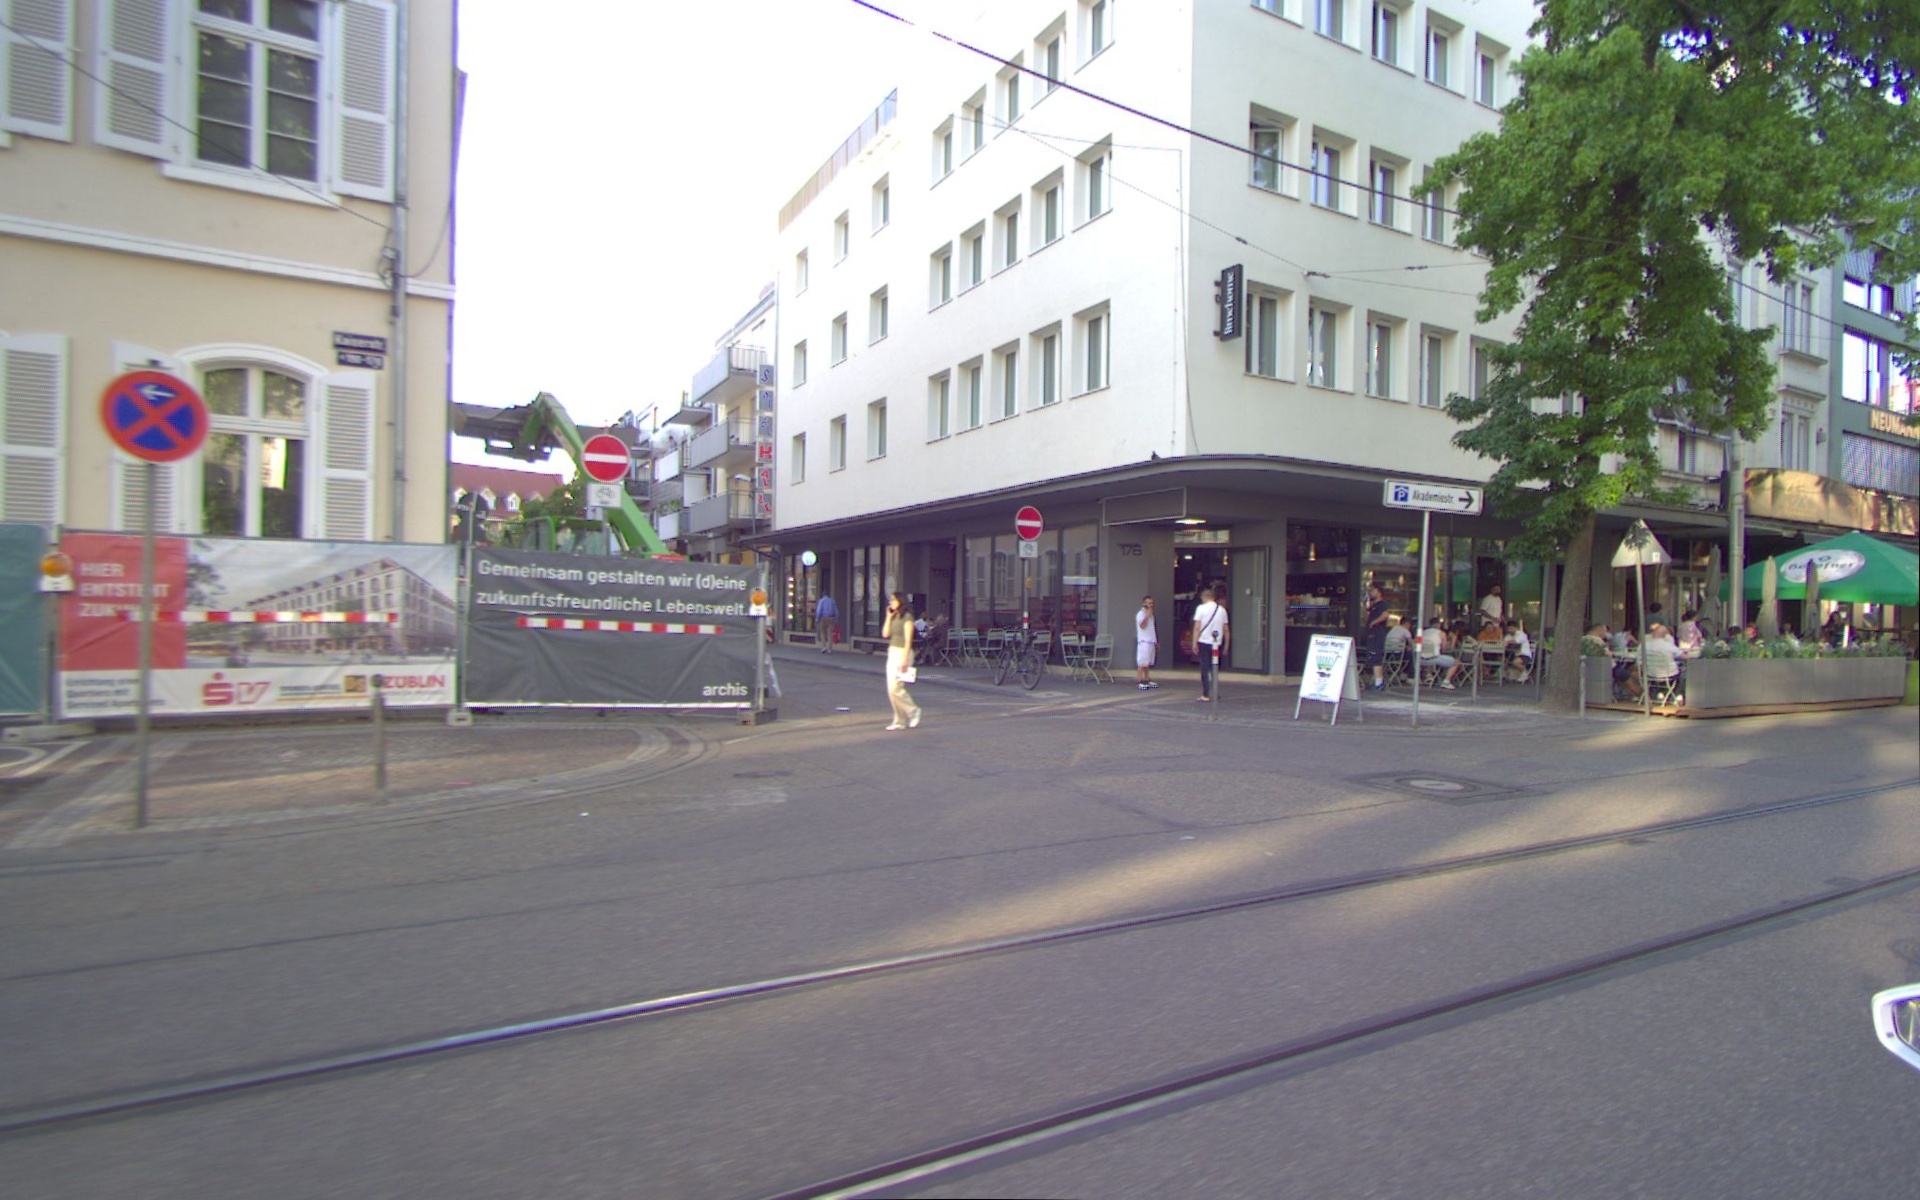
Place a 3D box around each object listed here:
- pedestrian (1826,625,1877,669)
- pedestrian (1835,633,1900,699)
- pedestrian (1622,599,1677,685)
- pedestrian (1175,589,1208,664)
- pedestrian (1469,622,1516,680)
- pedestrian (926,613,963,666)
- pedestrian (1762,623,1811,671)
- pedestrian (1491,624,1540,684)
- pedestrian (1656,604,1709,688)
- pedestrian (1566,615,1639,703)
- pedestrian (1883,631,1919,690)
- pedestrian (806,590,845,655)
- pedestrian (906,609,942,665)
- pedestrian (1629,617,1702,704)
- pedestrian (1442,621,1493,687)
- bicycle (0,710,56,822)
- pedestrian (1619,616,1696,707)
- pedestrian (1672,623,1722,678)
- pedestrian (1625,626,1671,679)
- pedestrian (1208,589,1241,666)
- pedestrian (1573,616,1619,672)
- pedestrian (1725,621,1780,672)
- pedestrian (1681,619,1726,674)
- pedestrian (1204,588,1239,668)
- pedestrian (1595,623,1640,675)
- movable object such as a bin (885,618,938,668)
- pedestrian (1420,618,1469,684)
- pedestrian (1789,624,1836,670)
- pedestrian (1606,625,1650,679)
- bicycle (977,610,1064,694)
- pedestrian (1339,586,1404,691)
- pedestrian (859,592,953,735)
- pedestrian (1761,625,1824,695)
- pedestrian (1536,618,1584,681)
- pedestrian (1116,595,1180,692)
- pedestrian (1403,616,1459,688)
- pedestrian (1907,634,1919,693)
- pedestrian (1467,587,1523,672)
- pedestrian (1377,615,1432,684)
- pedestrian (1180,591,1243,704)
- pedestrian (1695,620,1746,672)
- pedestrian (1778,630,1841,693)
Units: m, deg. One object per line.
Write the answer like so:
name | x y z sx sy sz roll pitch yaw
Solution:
pedestrian | 25.817 1.352 29.096 1.052 1.204 0.749 1 3 -30
pedestrian | 18.446 1.330 20.423 0.762 1.276 0.705 1 2 -27
pedestrian | 14.688 0.889 21.398 0.688 1.780 0.675 1 2 -28
pedestrian | 5.128 0.577 22.257 0.492 1.625 0.619 1 0 35
pedestrian | 11.208 1.062 21.152 0.678 1.177 0.550 1 2 -29
pedestrian | -0.369 0.935 24.056 0.611 1.218 0.687 -1 0 -31
pedestrian | 22.381 1.257 27.206 0.778 1.230 0.733 1 3 -30
pedestrian | 11.392 1.099 20.602 0.678 1.177 0.550 1 2 -29
pedestrian | 15.112 0.950 21.013 0.689 1.693 0.616 1 2 -30
pedestrian | 10.784 0.973 16.866 0.797 1.405 0.686 1 2 -28
pedestrian | 21.561 1.370 22.839 0.689 1.262 0.616 1 3 -30
pedestrian | -3.975 0.672 29.694 0.920 1.879 0.812 1 0 -26
pedestrian | -0.893 0.898 25.002 0.611 1.353 0.768 -1 1 -31
pedestrian | 11.934 1.007 17.007 0.797 1.405 0.686 1 2 -28
pedestrian | 9.924 1.048 19.643 0.678 1.252 0.550 1 2 -29
bicycle | -6.844 1.126 6.304 1.265 0.617 1.789 1 1 -26
pedestrian | 11.284 0.978 16.252 0.797 1.405 0.686 1 2 -28
pedestrian | 17.607 1.192 23.990 0.789 1.259 0.666 1 2 -30
pedestrian | 15.916 1.203 23.251 0.678 1.190 0.599 1 2 -29
pedestrian | 5.689 0.588 21.639 0.608 1.625 0.405 1 0 4
pedestrian | 13.995 0.961 22.113 0.678 1.177 0.550 1 2 -29
pedestrian | 20.675 1.198 26.205 0.934 1.254 0.773 1 3 -30
pedestrian | 18.700 1.158 25.251 0.689 1.327 0.616 1 3 -30
pedestrian | 5.405 0.575 20.781 0.608 1.625 0.405 1 0 4
pedestrian | 15.593 1.151 23.820 0.678 1.174 0.599 1 2 -29
movable object such as a bin | -1.175 1.015 24.087 0.846 1.129 1.108 -1 1 -31
pedestrian | 9.695 1.011 20.094 0.678 1.252 0.550 1 2 -29
pedestrian | 23.634 1.294 27.851 0.778 1.184 0.696 1 3 -30
pedestrian | 15.107 1.172 22.712 0.678 1.177 0.550 1 2 -29
bicycle | 1.067 0.903 18.221 0.703 1.399 1.867 -2 1 -27
pedestrian | 7.401 0.688 18.085 0.751 1.840 0.685 1 1 -14
pedestrian | -0.664 0.744 12.324 0.955 1.678 0.704 0 0 -28
pedestrian | 17.022 1.210 20.544 0.771 1.365 0.705 1 2 -27
pedestrian | 13.142 1.073 22.011 0.678 1.316 0.599 1 2 -29
pedestrian | 3.347 0.745 17.845 0.787 1.636 0.860 1 2 44
pedestrian | 8.994 0.981 19.171 0.719 1.299 0.624 1 2 -29
pedestrian | 21.069 1.382 21.732 0.689 1.262 0.616 1 3 -30
pedestrian | 11.668 0.637 21.910 0.746 1.816 0.685 1 1 -14
pedestrian | 8.747 0.962 19.788 0.729 1.286 0.642 1 2 -29
pedestrian | 4.014 0.736 16.071 0.848 1.764 0.798 0 0 4
pedestrian | 19.462 1.176 25.726 0.778 1.248 0.733 1 3 -30
pedestrian | 18.073 1.291 21.362 0.857 1.276 0.705 1 2 -27
